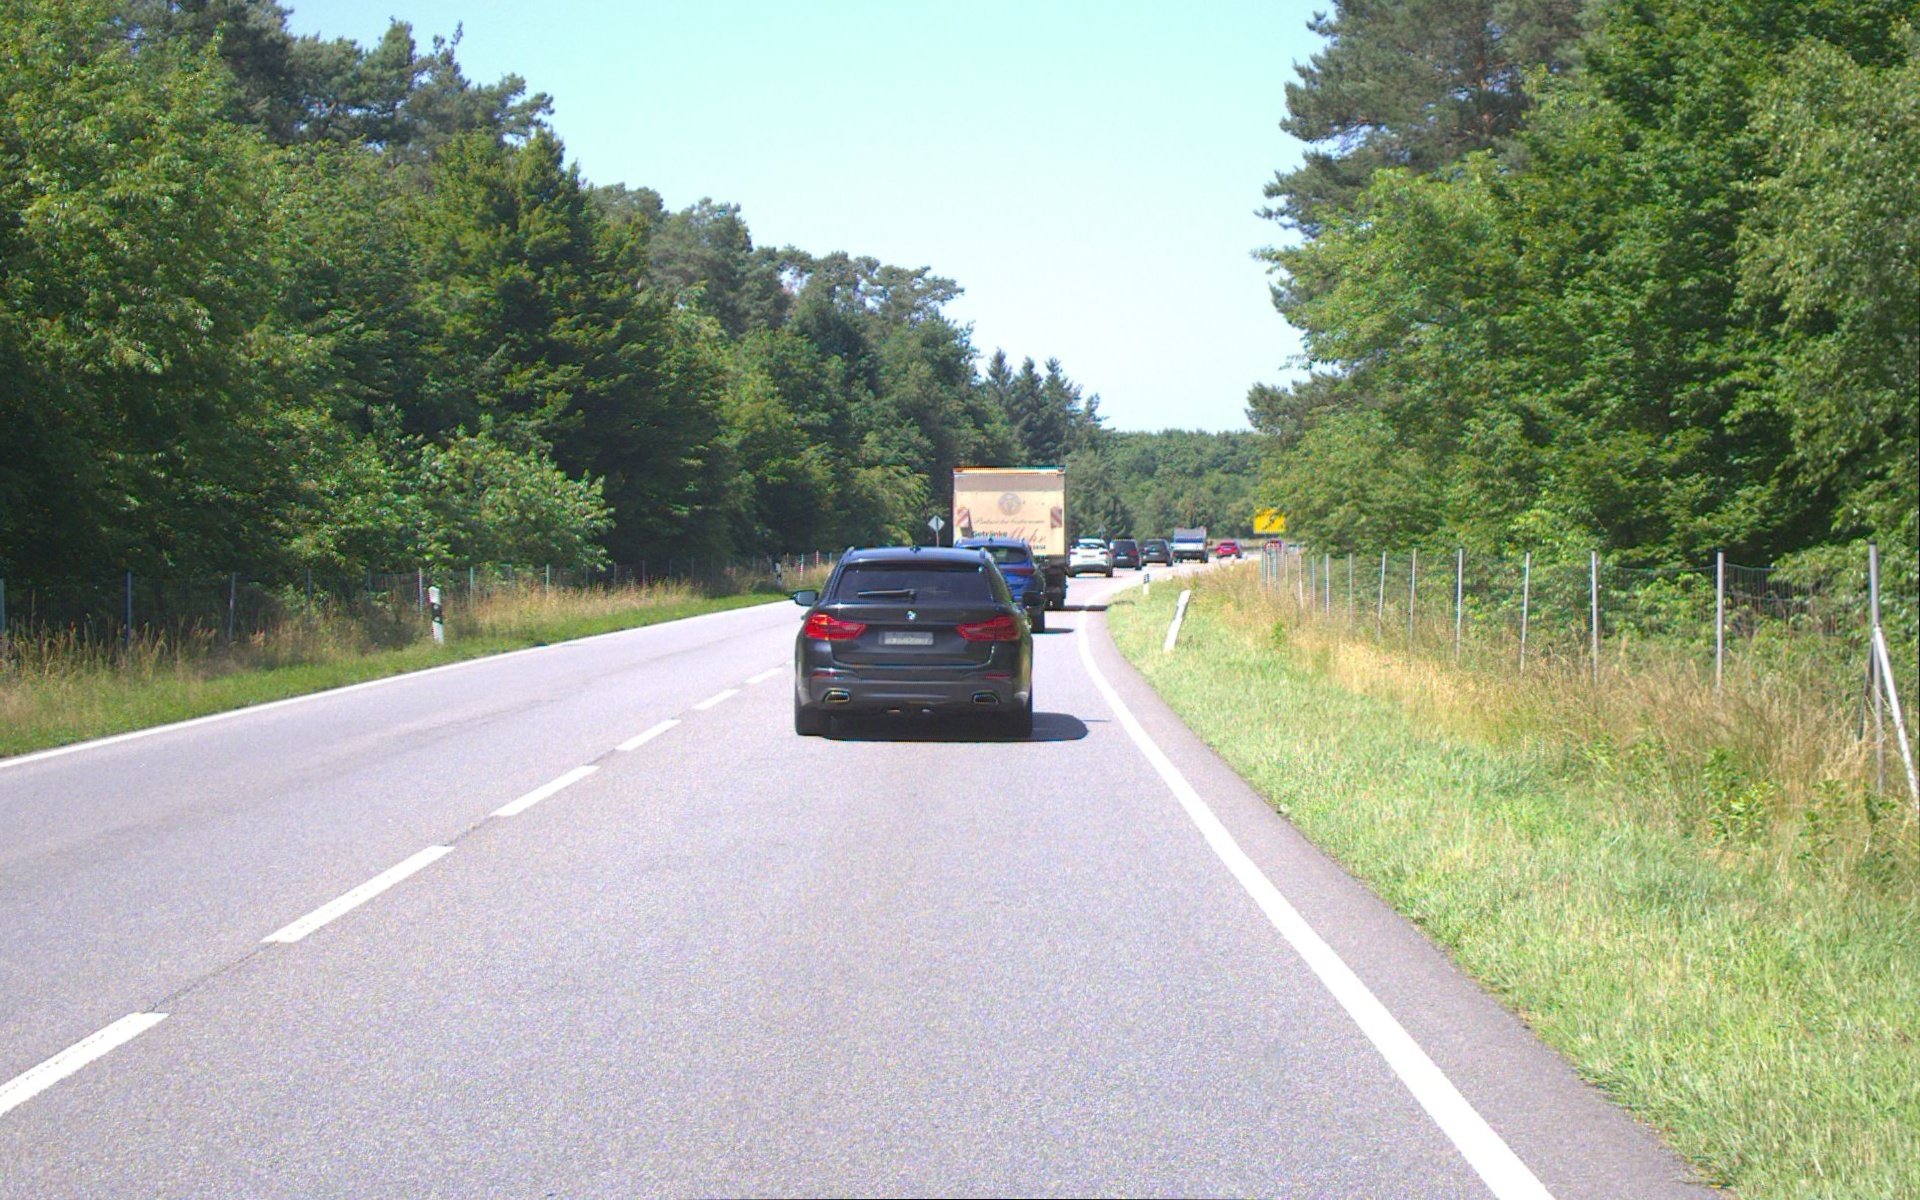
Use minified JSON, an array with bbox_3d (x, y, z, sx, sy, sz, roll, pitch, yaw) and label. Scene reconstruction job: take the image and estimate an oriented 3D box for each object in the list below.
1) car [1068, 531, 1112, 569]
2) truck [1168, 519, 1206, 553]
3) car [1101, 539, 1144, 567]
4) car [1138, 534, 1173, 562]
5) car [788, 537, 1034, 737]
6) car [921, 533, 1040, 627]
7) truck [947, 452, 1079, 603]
[{"bbox_3d":[5.608,-2.164,148.486,1.863,1.600,4.000,-1,1,2],"label":"car"},{"bbox_3d":[15.442,-4.374,233.666,2.564,2.194,4.973,-1,2,4],"label":"truck"},{"bbox_3d":[8.566,-2.508,181.272,1.993,1.415,4.000,1,1,-1],"label":"car"},{"bbox_3d":[11.846,-3.138,208.085,1.994,1.631,4.000,-1,1,4],"label":"car"},{"bbox_3d":[-0.462,0.241,27.716,1.820,1.465,4.001,-1,1,-3],"label":"car"},{"bbox_3d":[0.359,-0.372,59.651,1.947,1.536,4.000,-1,1,0],"label":"car"},{"bbox_3d":[1.247,-1.711,80.511,2.965,3.376,6.438,0,1,1],"label":"truck"}]
